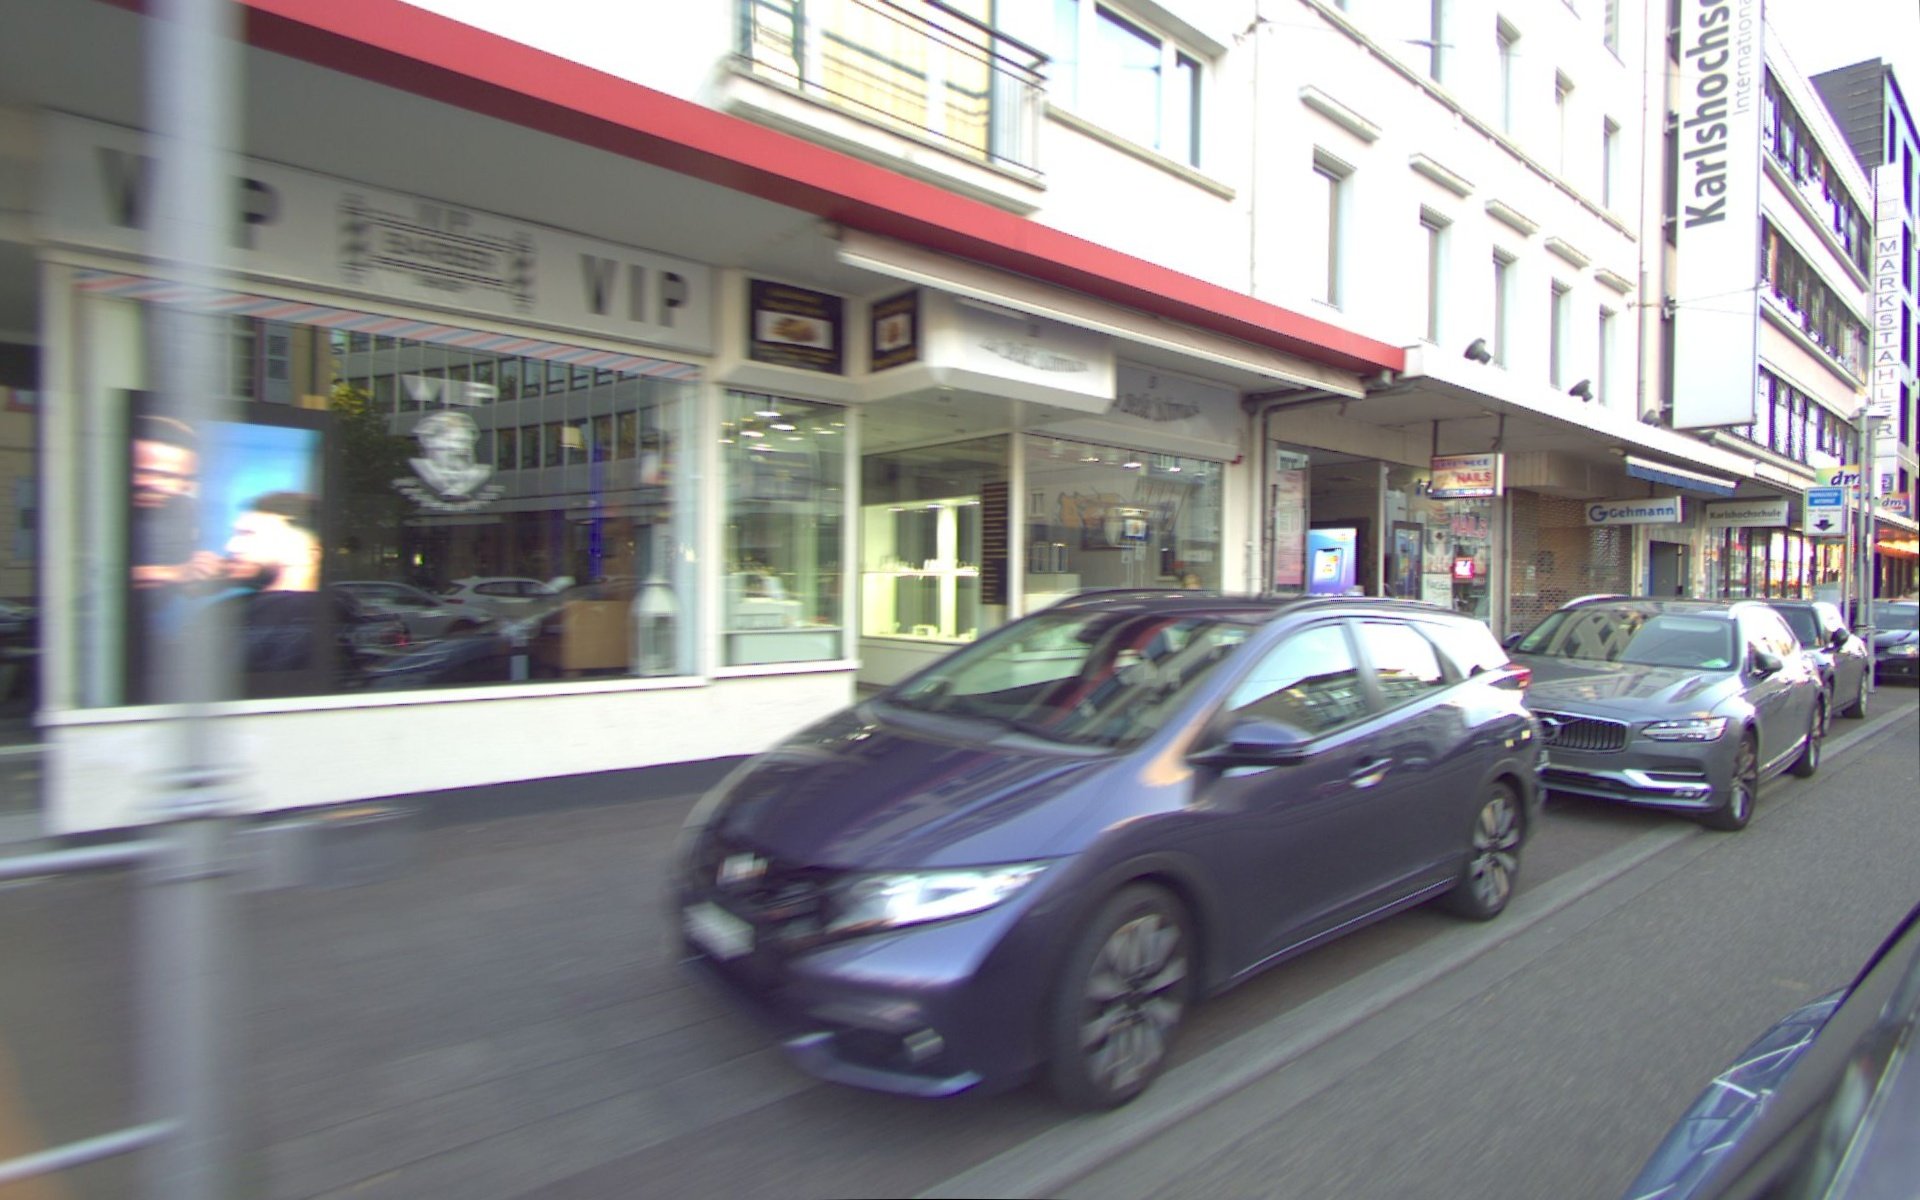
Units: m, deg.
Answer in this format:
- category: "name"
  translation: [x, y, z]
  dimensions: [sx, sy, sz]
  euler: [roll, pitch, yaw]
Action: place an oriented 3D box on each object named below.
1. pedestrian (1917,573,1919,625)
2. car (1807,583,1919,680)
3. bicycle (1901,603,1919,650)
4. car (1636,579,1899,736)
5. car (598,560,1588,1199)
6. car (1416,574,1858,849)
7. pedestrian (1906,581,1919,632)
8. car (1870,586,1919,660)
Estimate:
- category: "pedestrian"
  translation: [35.472, -0.032, 37.140]
  dimensions: [0.414, 1.922, 0.456]
  euler: [0, 1, -41]
- category: "car"
  translation: [16.705, 0.491, 18.070]
  dimensions: [4.094, 1.530, 1.724]
  euler: [0, 3, -40]
- category: "bicycle"
  translation: [24.596, 0.686, 25.014]
  dimensions: [0.665, 1.152, 1.888]
  euler: [0, 1, -43]
- category: "car"
  translation: [9.735, 0.555, 12.095]
  dimensions: [3.964, 1.530, 1.689]
  euler: [0, 3, -40]
- category: "car"
  translation: [0.897, 0.650, 4.269]
  dimensions: [4.227, 1.530, 1.739]
  euler: [0, 3, -40]
- category: "car"
  translation: [5.545, 0.604, 8.010]
  dimensions: [4.631, 1.530, 1.793]
  euler: [-1, 3, -42]
- category: "pedestrian"
  translation: [36.280, 0.256, 38.419]
  dimensions: [0.414, 1.922, 0.452]
  euler: [0, 1, -41]
- category: "car"
  translation: [21.883, 0.480, 22.604]
  dimensions: [4.183, 1.530, 1.748]
  euler: [0, 3, -40]
